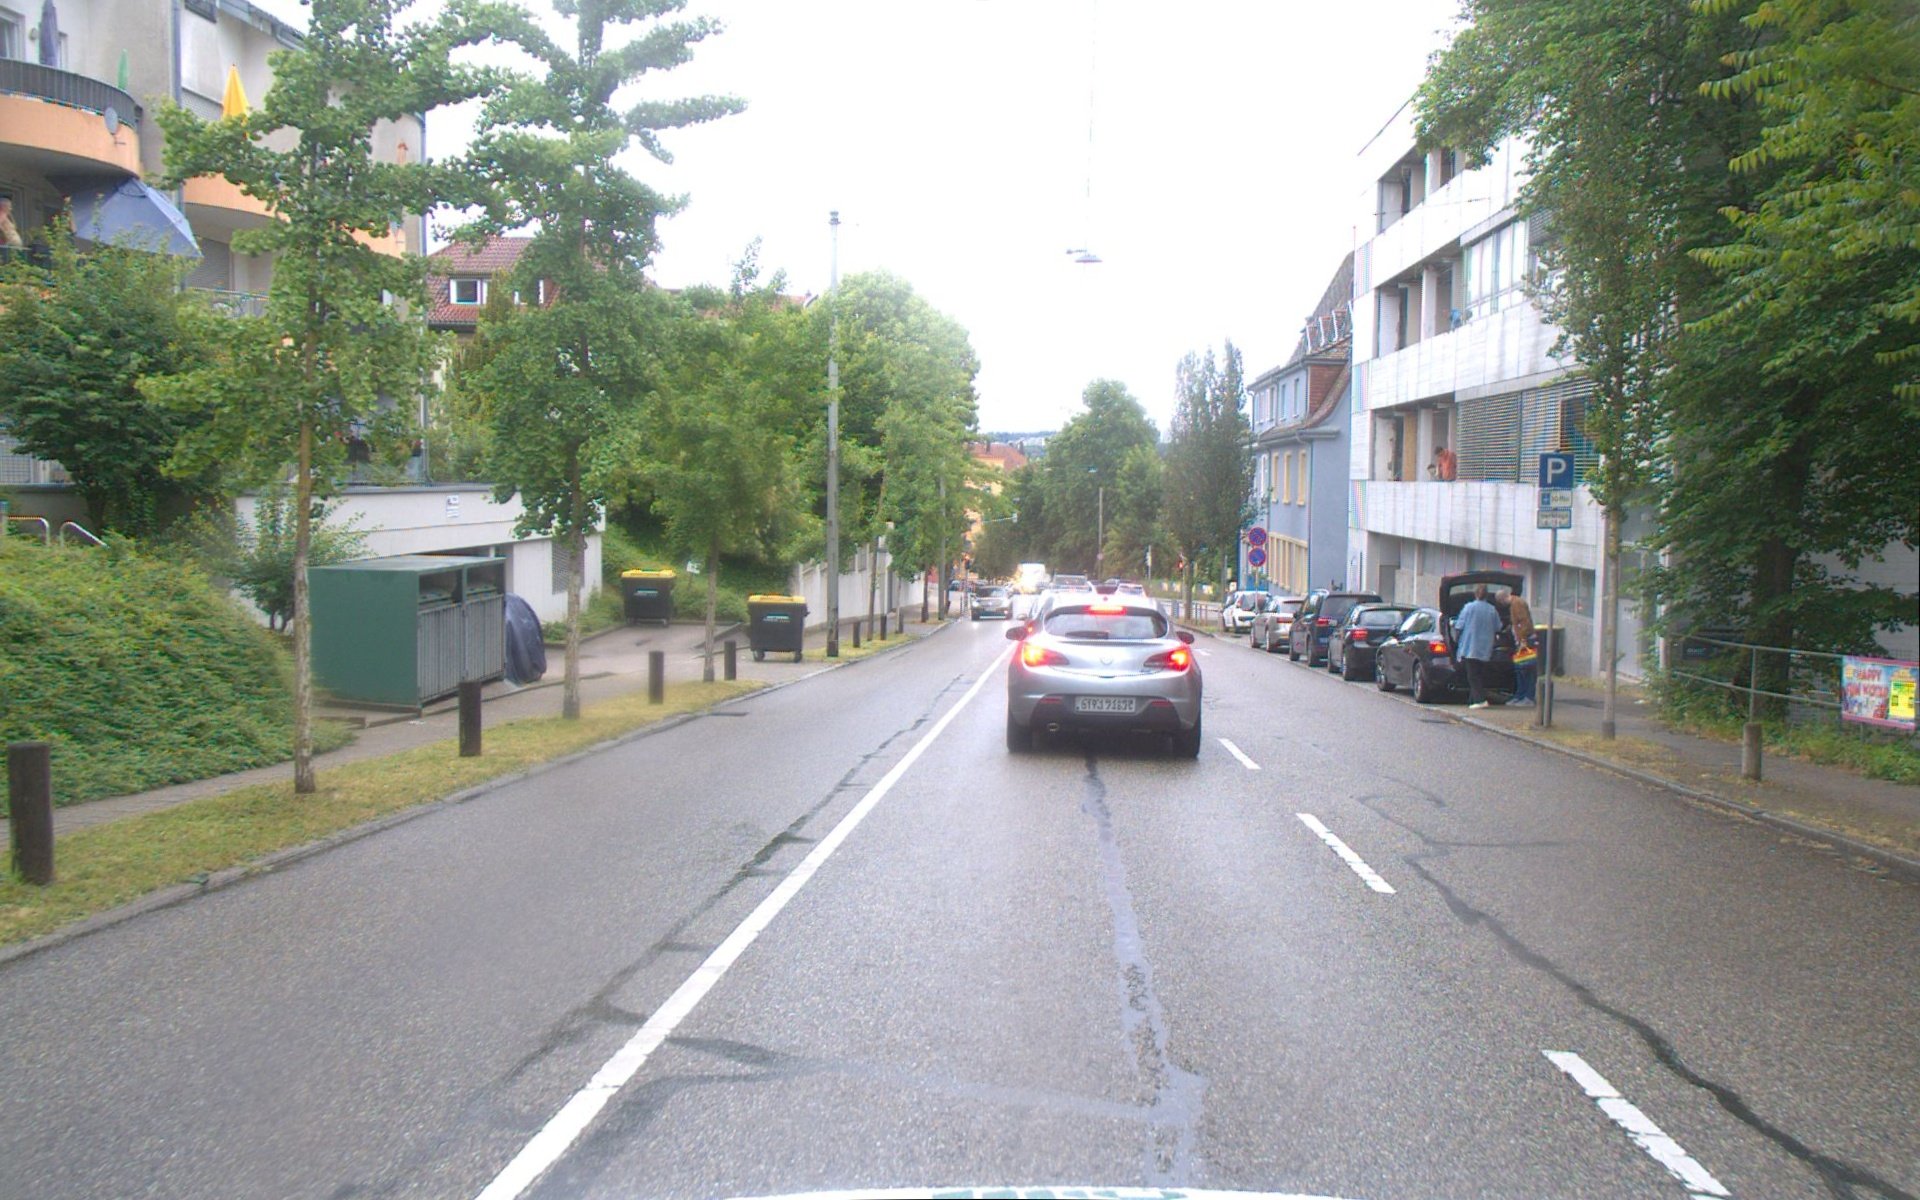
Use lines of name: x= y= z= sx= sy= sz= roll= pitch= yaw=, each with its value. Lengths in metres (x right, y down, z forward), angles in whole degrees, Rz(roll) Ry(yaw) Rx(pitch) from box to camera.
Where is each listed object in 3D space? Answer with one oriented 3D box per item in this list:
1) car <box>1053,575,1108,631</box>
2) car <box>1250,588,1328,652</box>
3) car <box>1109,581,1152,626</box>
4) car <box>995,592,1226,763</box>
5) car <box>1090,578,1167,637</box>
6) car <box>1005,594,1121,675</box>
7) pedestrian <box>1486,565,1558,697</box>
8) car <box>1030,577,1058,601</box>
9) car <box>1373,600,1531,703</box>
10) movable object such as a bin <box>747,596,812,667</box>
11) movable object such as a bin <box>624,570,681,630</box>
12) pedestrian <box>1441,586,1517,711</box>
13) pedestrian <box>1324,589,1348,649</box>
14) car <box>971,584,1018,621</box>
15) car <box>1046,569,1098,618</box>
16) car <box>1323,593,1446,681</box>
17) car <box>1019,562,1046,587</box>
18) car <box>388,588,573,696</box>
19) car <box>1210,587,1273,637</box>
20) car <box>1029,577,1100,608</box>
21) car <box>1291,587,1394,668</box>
car: x=4.358 y=0.072 z=60.265 sx=1.732 sy=1.811 sz=3.978 roll=3 pitch=2 yaw=2
car: x=8.834 y=0.506 z=44.612 sx=1.551 sy=1.519 sz=4.293 roll=-1 pitch=2 yaw=4
car: x=8.908 y=0.160 z=86.607 sx=1.952 sy=2.071 sz=4.738 roll=3 pitch=2 yaw=4
car: x=1.367 y=0.676 z=16.489 sx=1.905 sy=1.457 sz=3.884 roll=0 pitch=1 yaw=-1
car: x=4.911 y=0.193 z=48.754 sx=1.920 sy=1.497 sz=3.952 roll=3 pitch=2 yaw=2
car: x=1.832 y=0.590 z=30.544 sx=1.761 sy=1.346 sz=3.999 roll=1 pitch=0 yaw=-2
pedestrian: x=8.272 y=0.442 z=24.348 sx=0.679 sy=1.868 sz=0.659 roll=-3 pitch=2 yaw=-28
car: x=6.328 y=-0.831 z=124.265 sx=1.952 sy=1.562 sz=4.312 roll=3 pitch=2 yaw=4
car: x=7.820 y=0.771 z=26.595 sx=1.472 sy=1.460 sz=4.001 roll=-1 pitch=1 yaw=2
movable object such as a bin: x=-3.701 y=0.640 z=33.949 sx=1.245 sy=1.411 sz=0.489 roll=1 pitch=2 yaw=1
movable object such as a bin: x=-7.400 y=-0.006 z=39.823 sx=1.245 sy=1.411 sz=0.489 roll=1 pitch=2 yaw=1
pedestrian: x=7.547 y=0.692 z=24.044 sx=0.752 sy=1.753 sz=0.732 roll=-1 pitch=2 yaw=45
pedestrian: x=11.520 y=0.582 z=50.686 sx=0.631 sy=1.815 sz=0.542 roll=0 pitch=1 yaw=4
car: x=1.609 y=0.096 z=75.375 sx=1.811 sy=1.494 sz=4.090 roll=-3 pitch=0 yaw=4
car: x=5.277 y=-0.333 z=78.057 sx=2.285 sy=2.071 sz=4.738 roll=3 pitch=2 yaw=4
car: x=8.214 y=0.671 z=32.284 sx=1.646 sy=1.489 sz=4.003 roll=-1 pitch=2 yaw=4
car: x=5.822 y=-2.032 z=131.788 sx=1.952 sy=1.815 sz=4.003 roll=3 pitch=2 yaw=4
car: x=-7.644 y=0.611 z=26.749 sx=1.706 sy=1.482 sz=3.885 roll=-4 pitch=1 yaw=1
car: x=10.039 y=0.407 z=59.229 sx=1.866 sy=1.598 sz=4.003 roll=-1 pitch=2 yaw=4
car: x=6.055 y=-0.438 z=95.915 sx=3.824 sy=1.504 sz=1.804 roll=-5 pitch=2 yaw=-37
car: x=8.481 y=0.564 z=36.976 sx=1.650 sy=1.598 sz=4.003 roll=-1 pitch=2 yaw=4
